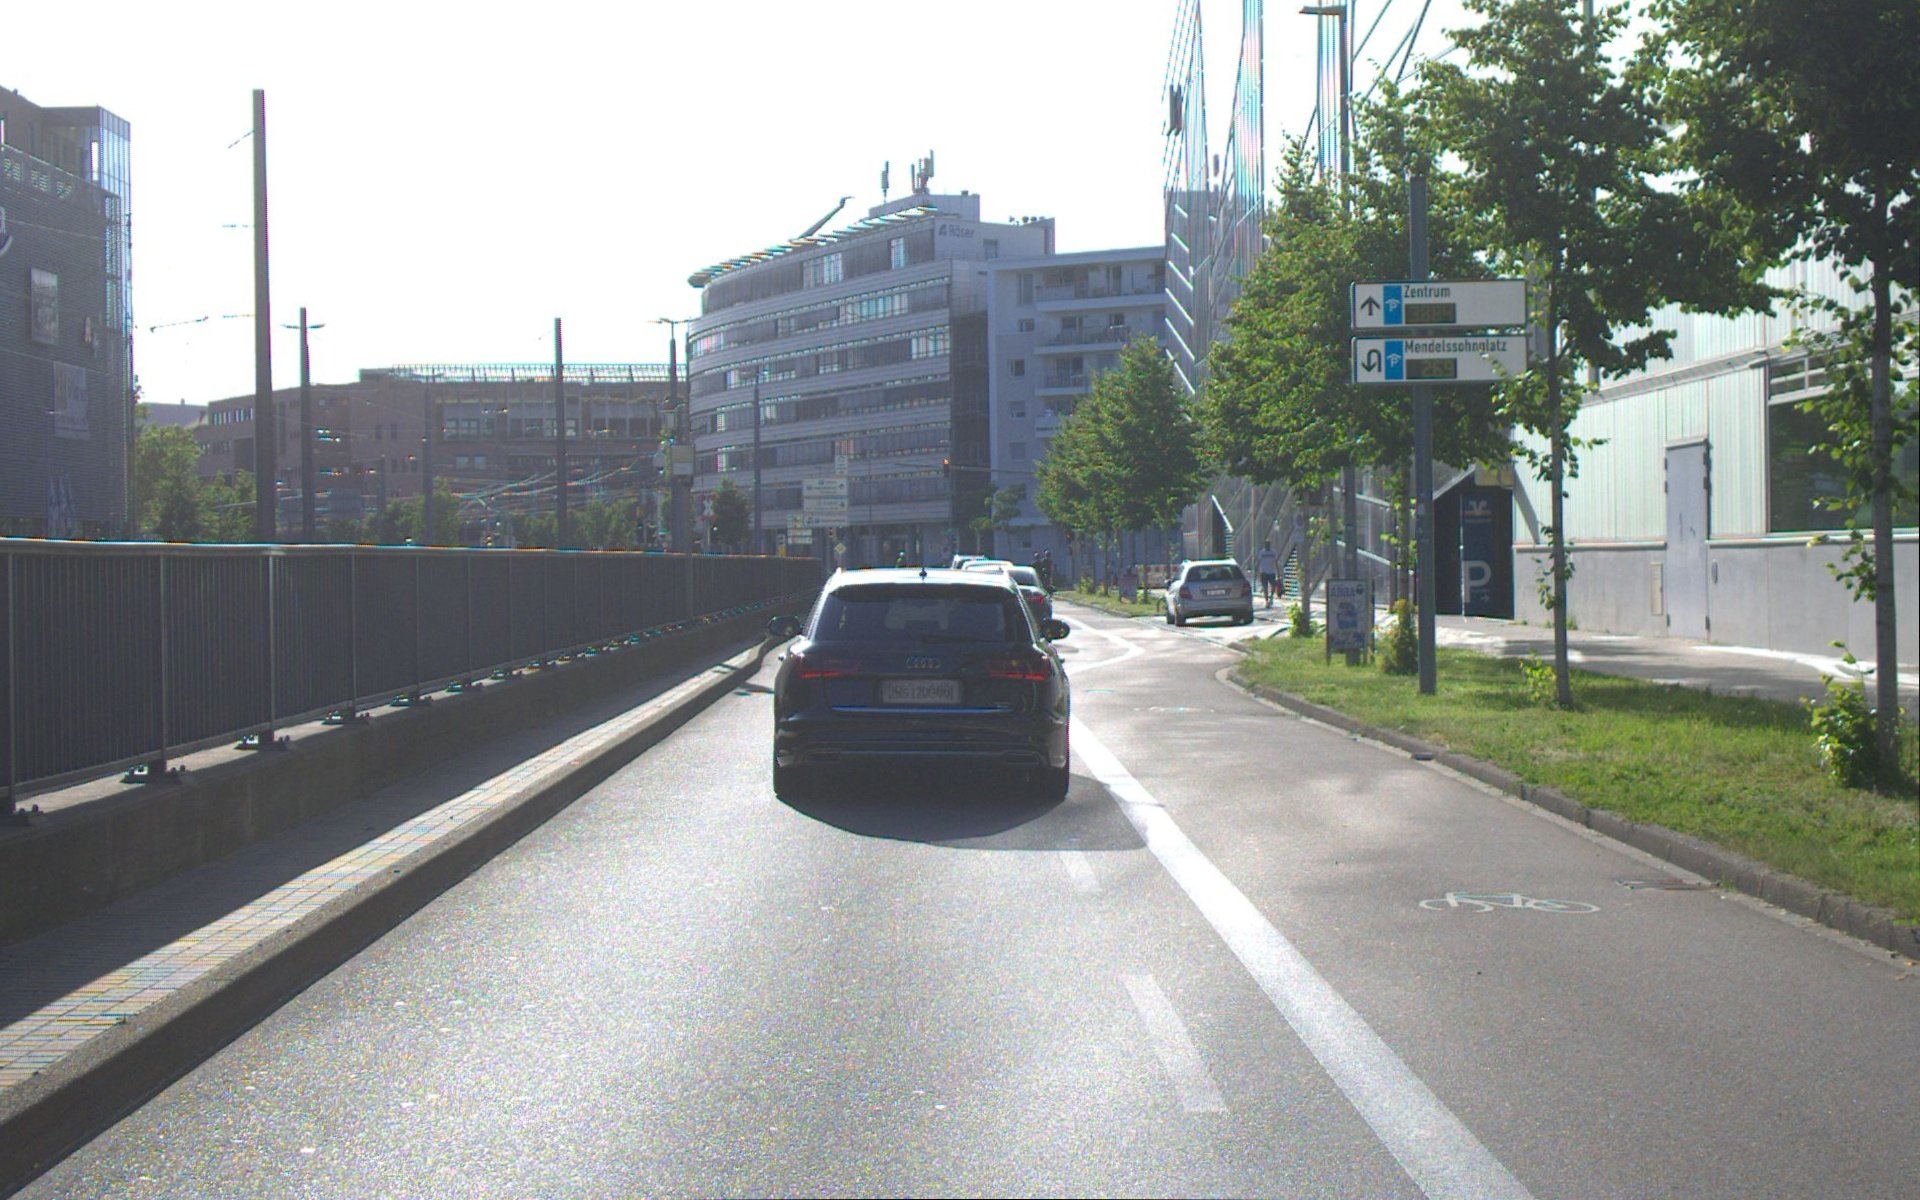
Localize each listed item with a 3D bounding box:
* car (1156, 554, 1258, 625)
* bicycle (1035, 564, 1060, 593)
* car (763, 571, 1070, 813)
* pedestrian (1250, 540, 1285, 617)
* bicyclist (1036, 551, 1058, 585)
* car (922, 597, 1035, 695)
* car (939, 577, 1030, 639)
[{"bbox_3d":[5.632,-0.261,78.952,1.852,1.476,4.854,-2,1,-1],"label":"car"},{"bbox_3d":[3.695,-0.910,145.516,0.724,1.180,2.094,-2,1,-7],"label":"bicycle"},{"bbox_3d":[-0.311,0.528,22.861,1.812,1.422,4.690,-1,0,-1],"label":"car"},{"bbox_3d":[8.155,-0.563,91.163,0.836,2.007,0.689,-2,1,0],"label":"pedestrian"},{"bbox_3d":[3.676,-1.337,145.530,0.724,1.413,0.891,-2,1,-7],"label":"bicyclist"},{"bbox_3d":[0.293,0.772,59.668,1.852,1.541,4.000,1,1,-1],"label":"car"},{"bbox_3d":[0.600,0.193,87.957,1.993,1.460,4.001,0,2,-5],"label":"car"}]
